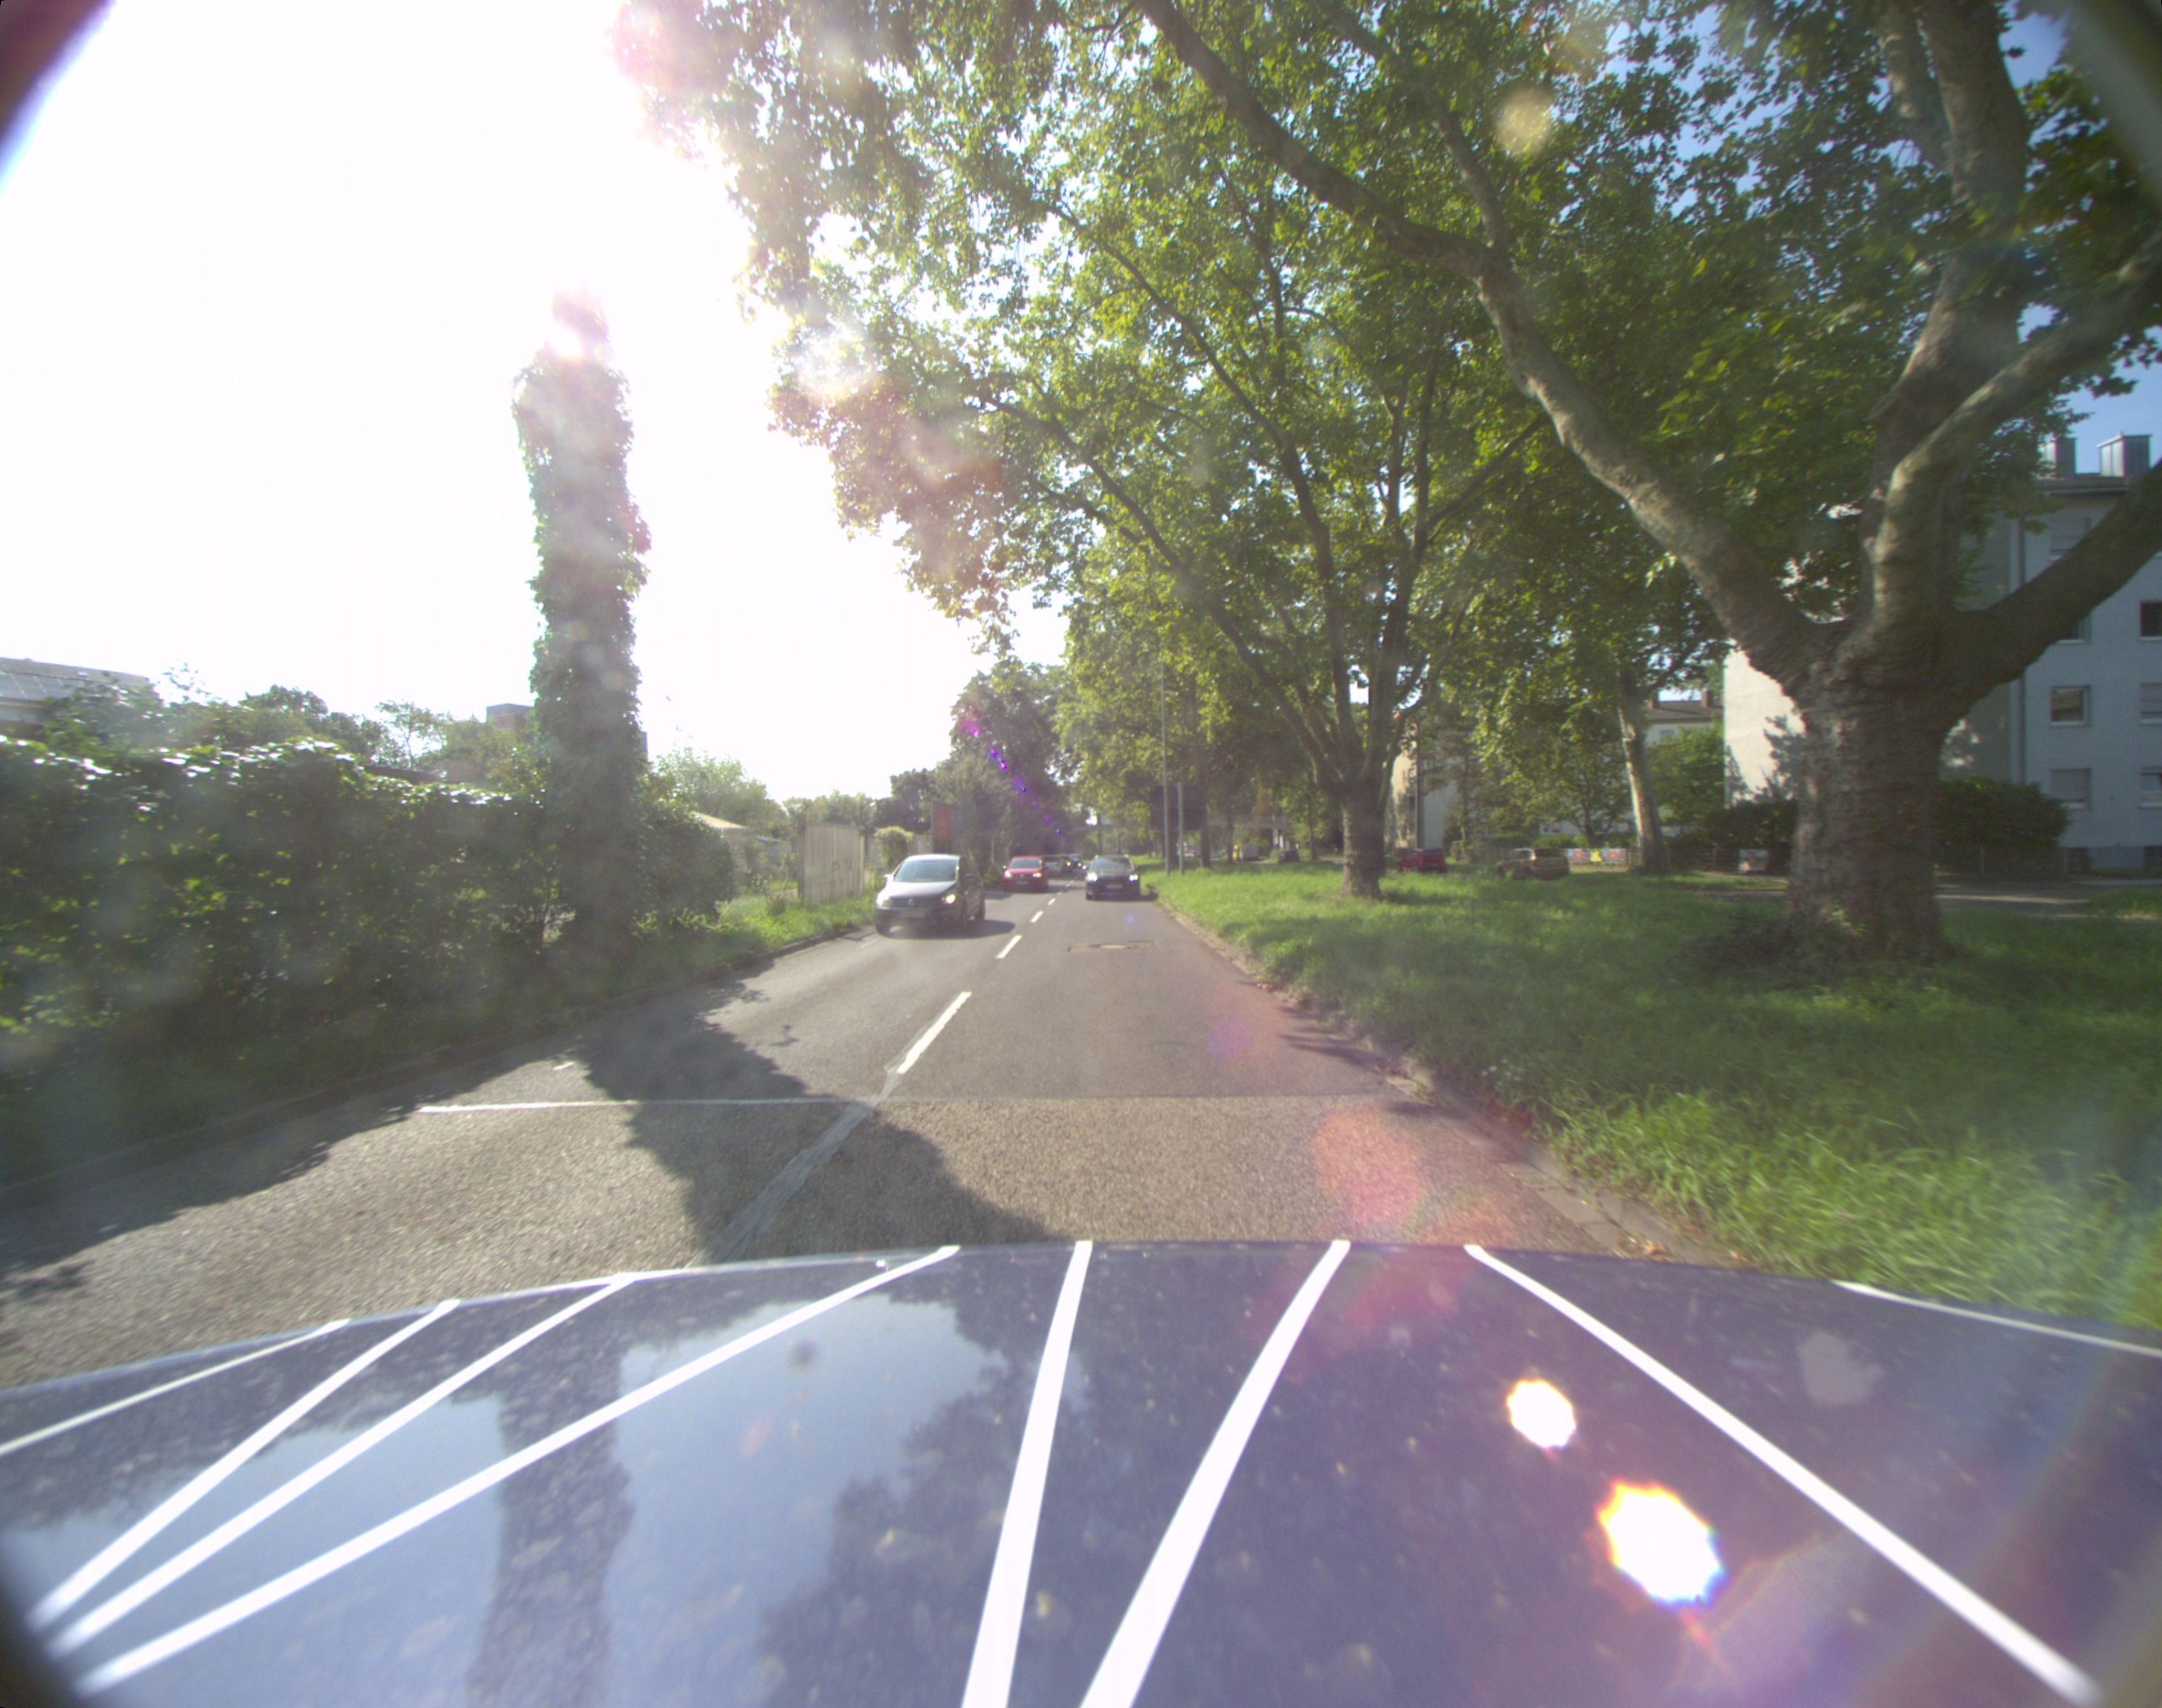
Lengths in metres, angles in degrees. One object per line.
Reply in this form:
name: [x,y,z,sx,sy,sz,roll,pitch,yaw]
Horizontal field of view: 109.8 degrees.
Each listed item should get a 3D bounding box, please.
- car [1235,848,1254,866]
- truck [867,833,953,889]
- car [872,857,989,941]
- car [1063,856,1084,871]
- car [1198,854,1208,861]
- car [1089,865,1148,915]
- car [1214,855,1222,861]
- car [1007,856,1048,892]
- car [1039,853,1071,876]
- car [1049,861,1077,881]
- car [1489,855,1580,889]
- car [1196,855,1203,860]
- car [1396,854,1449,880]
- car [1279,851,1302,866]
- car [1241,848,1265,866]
car: [25.024,0.430,116.384,2.212,2.465,6.063,-2,1,7]
truck: [-7.467,0.261,34.005,1.919,2.220,6.913,-2,0,3]
car: [-3.082,0.861,16.368,1.649,1.547,3.899,-1,1,1]
car: [-0.728,0.972,78.949,1.648,1.378,3.900,-2,0,7]
car: [28.285,0.849,176.579,1.806,1.709,4.721,-1,0,3]
car: [1.228,1.180,26.338,1.862,1.572,3.612,-1,0,0]
car: [31.757,0.919,176.380,1.648,1.471,3.900,-2,0,7]
car: [-2.220,0.799,31.964,1.579,1.390,3.470,0,1,-2]
car: [-1.758,0.677,52.000,1.648,1.467,3.900,-2,0,5]
car: [-1.430,1.338,61.978,1.648,1.467,3.900,-2,0,7]
car: [20.343,0.765,34.313,1.806,1.421,4.065,-2,0,3]
car: [36.773,0.974,235.936,1.791,1.524,4.457,-2,0,6]
car: [20.622,0.747,45.989,1.542,1.443,4.065,-2,0,3]
car: [22.459,0.468,81.669,1.526,1.524,3.864,-1,1,2]
car: [24.510,0.395,108.469,2.212,2.416,6.267,-4,0,4]
